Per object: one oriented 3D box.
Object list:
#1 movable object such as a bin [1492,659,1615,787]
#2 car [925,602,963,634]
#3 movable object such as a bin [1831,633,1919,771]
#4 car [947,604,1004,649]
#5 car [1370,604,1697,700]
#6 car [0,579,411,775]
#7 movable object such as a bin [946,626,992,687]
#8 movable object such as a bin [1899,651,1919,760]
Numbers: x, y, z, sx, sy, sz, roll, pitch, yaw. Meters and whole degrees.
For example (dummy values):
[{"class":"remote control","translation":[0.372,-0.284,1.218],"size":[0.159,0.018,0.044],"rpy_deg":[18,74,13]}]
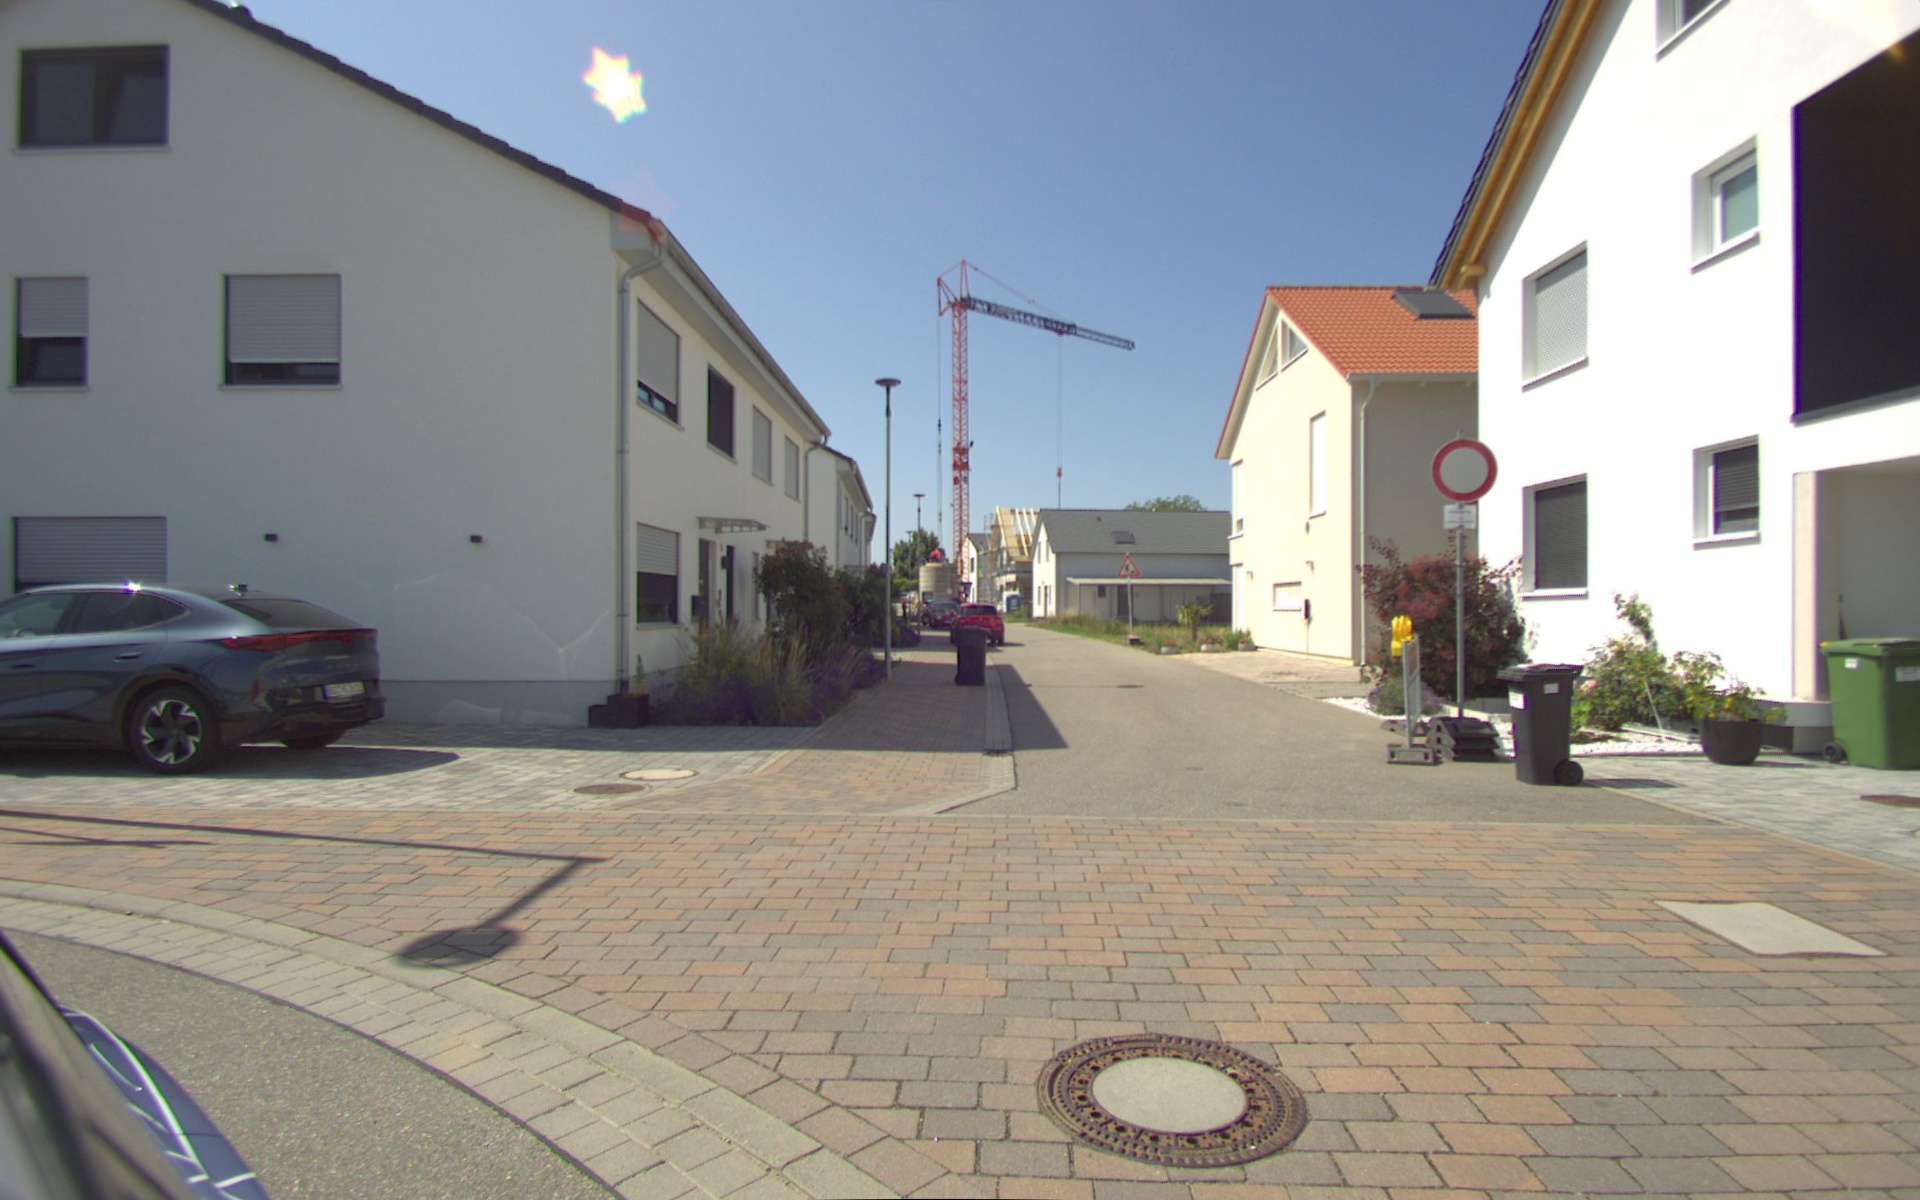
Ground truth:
[{"class":"movable object such as a bin","translation":[4.639,0.945,7.942],"size":[0.610,0.944,0.565],"rpy_deg":[-1,-1,0]},{"class":"car","translation":[-0.915,0.972,55.811],"size":[1.776,1.630,3.681],"rpy_deg":[0,0,-6]},{"class":"movable object such as a bin","translation":[7.763,0.827,8.406],"size":[0.493,1.100,0.601],"rpy_deg":[0,-2,0]},{"class":"car","translation":[0.517,0.909,36.170],"size":[1.885,1.490,4.000],"rpy_deg":[0,0,0]},{"class":"car","translation":[8.727,0.774,15.671],"size":[4.006,1.391,1.755],"rpy_deg":[0,-1,2]},{"class":"car","translation":[-7.651,0.646,9.219],"size":[4.293,1.570,1.958],"rpy_deg":[0,-1,3]},{"class":"movable object such as a bin","translation":[0.152,1.016,18.333],"size":[0.812,1.072,0.590],"rpy_deg":[0,0,0]},{"class":"movable object such as a bin","translation":[8.359,0.890,8.443],"size":[0.493,0.912,0.561],"rpy_deg":[0,-1,0]}]
